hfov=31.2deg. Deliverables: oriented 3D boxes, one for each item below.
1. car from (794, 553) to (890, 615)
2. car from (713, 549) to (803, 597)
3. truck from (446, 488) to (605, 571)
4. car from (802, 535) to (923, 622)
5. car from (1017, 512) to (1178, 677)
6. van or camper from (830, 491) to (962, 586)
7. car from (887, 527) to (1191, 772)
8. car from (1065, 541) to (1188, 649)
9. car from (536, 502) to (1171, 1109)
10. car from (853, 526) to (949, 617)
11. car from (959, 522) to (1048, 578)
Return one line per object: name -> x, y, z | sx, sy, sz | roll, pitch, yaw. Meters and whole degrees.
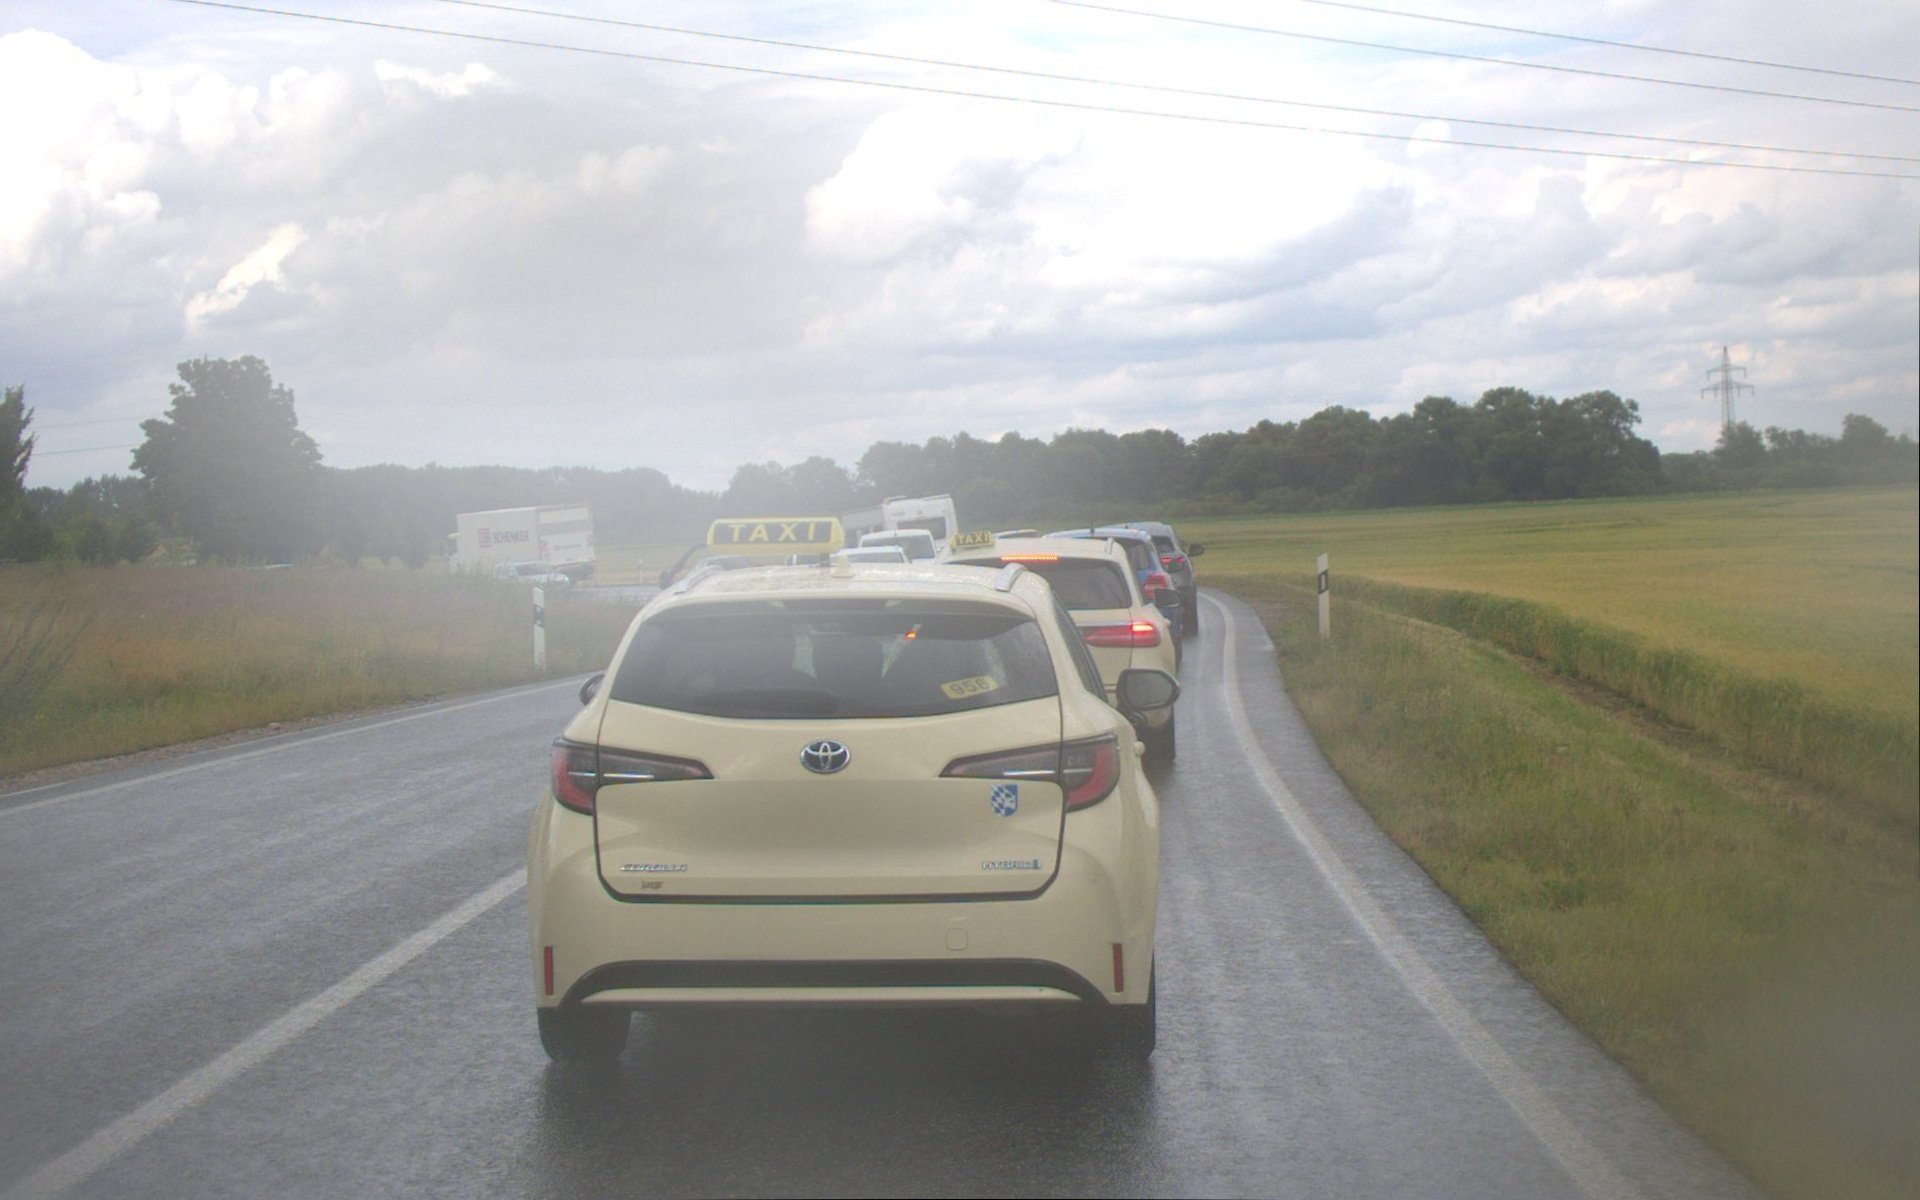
car -> -3.293, -0.453, 95.067 | 1.848, 1.626, 4.536 | -2, 1, -12
car -> -6.408, -0.849, 108.632 | 1.848, 1.443, 4.092 | -2, 1, -17
truck -> -17.792, -2.834, 140.344 | 3.014, 3.198, 8.232 | 0, 0, -34
car -> -1.580, -0.362, 57.225 | 1.844, 1.383, 4.287 | 0, 1, 1
car -> 1.442, -0.046, 36.438 | 1.613, 1.653, 3.738 | 0, 0, 2
van or camper -> -2.066, -1.924, 108.225 | 2.536, 2.886, 6.745 | 0, 1, -16
car -> 0.573, 0.262, 23.219 | 1.841, 1.487, 4.608 | 0, 1, 2
car -> 2.294, -0.062, 46.894 | 1.613, 1.408, 3.738 | 0, 0, 4
car -> -0.164, 0.531, 10.746 | 1.613, 1.557, 3.738 | 0, 0, 4
car -> -1.211, -0.600, 72.379 | 1.844, 1.849, 4.447 | 0, 1, 1
car -> 1.137, -1.313, 91.624 | 1.783, 1.408, 3.739 | 0, 0, -9
